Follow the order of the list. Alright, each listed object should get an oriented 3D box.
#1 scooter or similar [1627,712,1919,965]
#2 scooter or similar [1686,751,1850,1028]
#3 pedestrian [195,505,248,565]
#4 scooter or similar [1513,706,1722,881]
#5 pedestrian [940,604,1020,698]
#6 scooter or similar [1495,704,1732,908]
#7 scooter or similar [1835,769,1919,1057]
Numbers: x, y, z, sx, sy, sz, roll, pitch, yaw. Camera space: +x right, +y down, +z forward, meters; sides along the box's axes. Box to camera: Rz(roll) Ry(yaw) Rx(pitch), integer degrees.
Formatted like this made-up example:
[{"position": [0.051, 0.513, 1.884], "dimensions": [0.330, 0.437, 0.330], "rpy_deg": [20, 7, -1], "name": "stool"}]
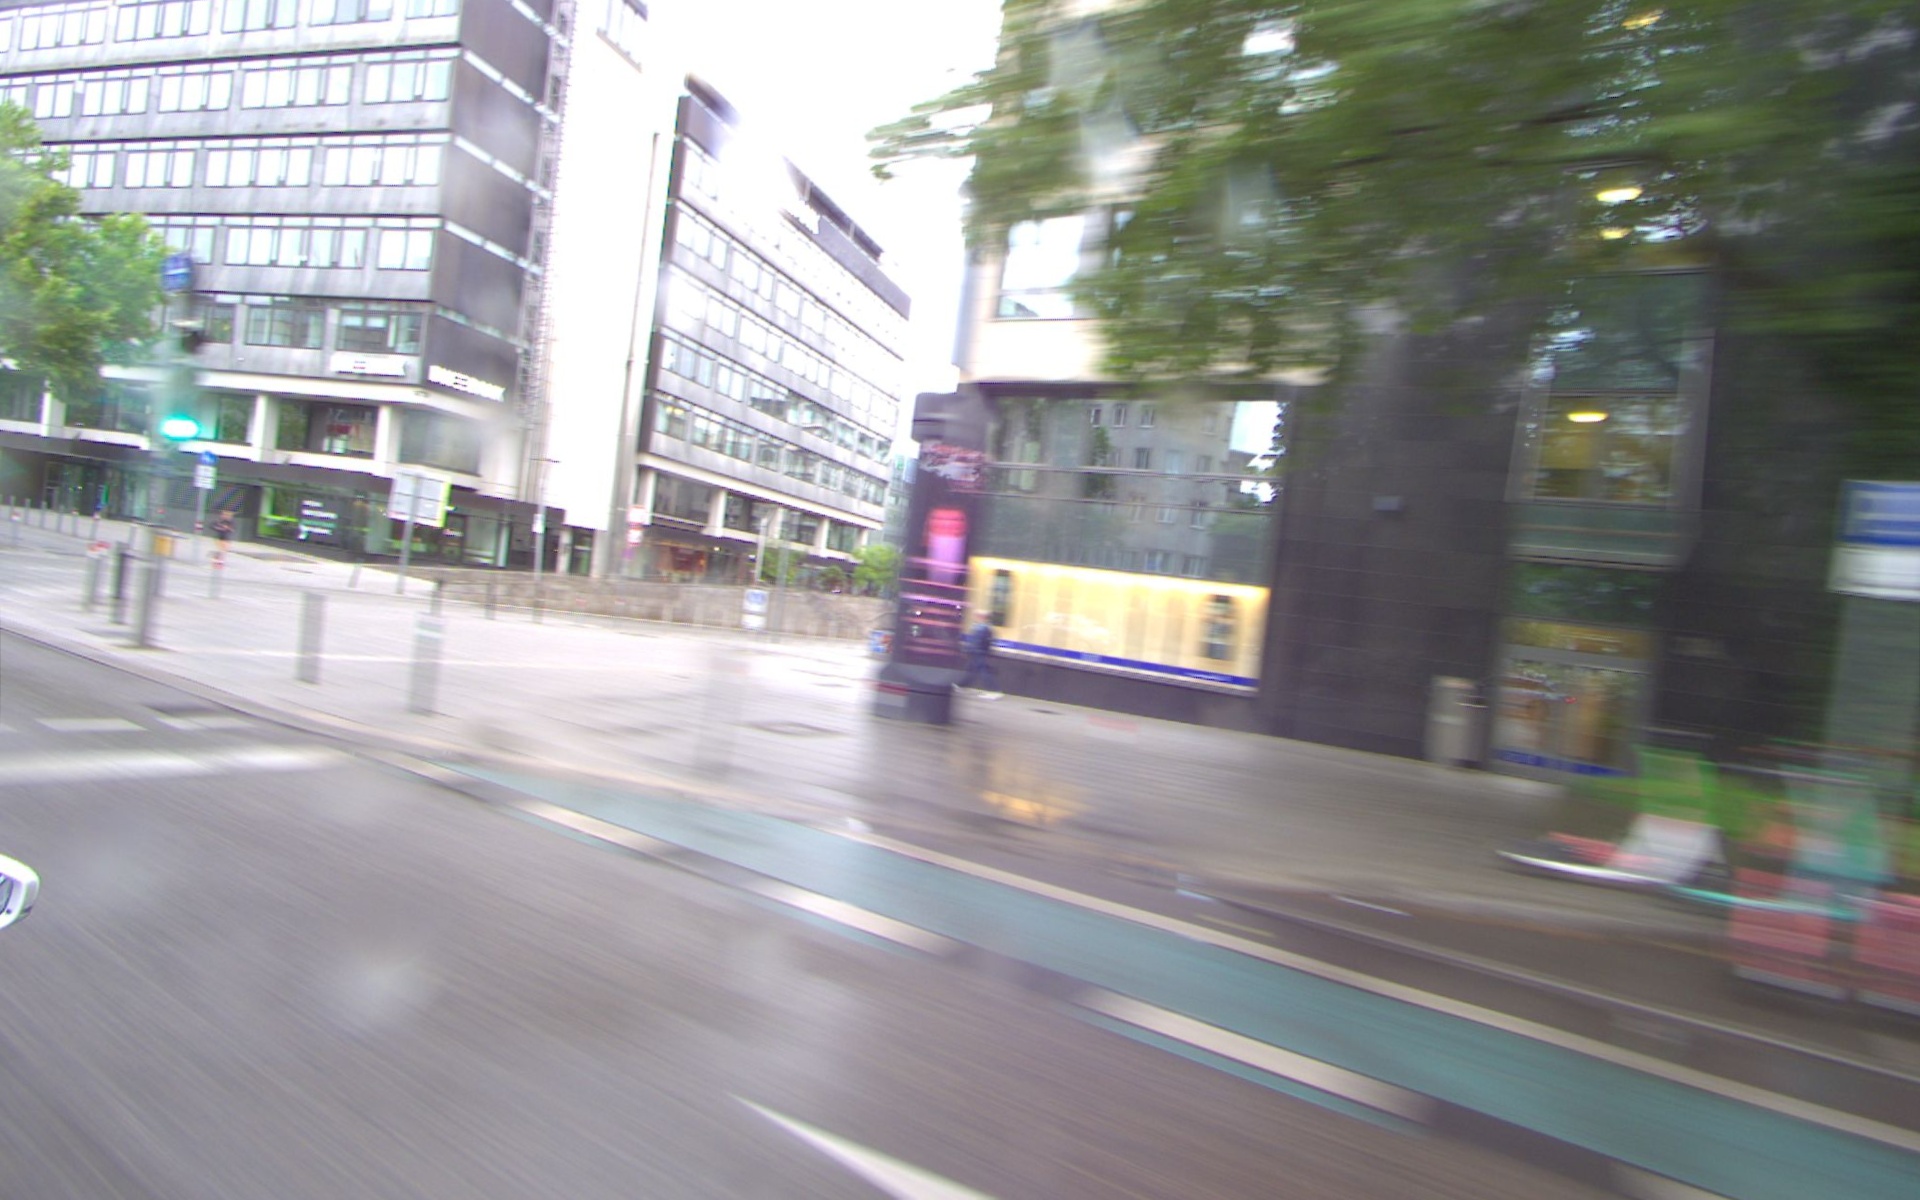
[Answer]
[{"position": [5.216, 1.488, 6.553], "dimensions": [1.272, 1.276, 0.488], "rpy_deg": [9, 3, 32], "name": "scooter or similar"}, {"position": [4.599, 1.556, 5.697], "dimensions": [0.482, 1.276, 1.286], "rpy_deg": [10, 3, 43], "name": "scooter or similar"}, {"position": [-23.160, -2.040, 31.554], "dimensions": [1.167, 1.716, 0.806], "rpy_deg": [7, -1, 31], "name": "pedestrian"}, {"position": [5.372, 1.569, 8.256], "dimensions": [1.269, 1.212, 0.489], "rpy_deg": [7, 0, 1], "name": "scooter or similar"}, {"position": [0.443, 1.112, 22.011], "dimensions": [1.257, 1.872, 0.917], "rpy_deg": [6, -1, 36], "name": "pedestrian"}, {"position": [4.712, 1.454, 7.341], "dimensions": [1.270, 1.212, 0.489], "rpy_deg": [6, 0, 22], "name": "scooter or similar"}, {"position": [5.069, 1.601, 5.315], "dimensions": [0.482, 1.276, 1.286], "rpy_deg": [10, 3, 43], "name": "scooter or similar"}]
